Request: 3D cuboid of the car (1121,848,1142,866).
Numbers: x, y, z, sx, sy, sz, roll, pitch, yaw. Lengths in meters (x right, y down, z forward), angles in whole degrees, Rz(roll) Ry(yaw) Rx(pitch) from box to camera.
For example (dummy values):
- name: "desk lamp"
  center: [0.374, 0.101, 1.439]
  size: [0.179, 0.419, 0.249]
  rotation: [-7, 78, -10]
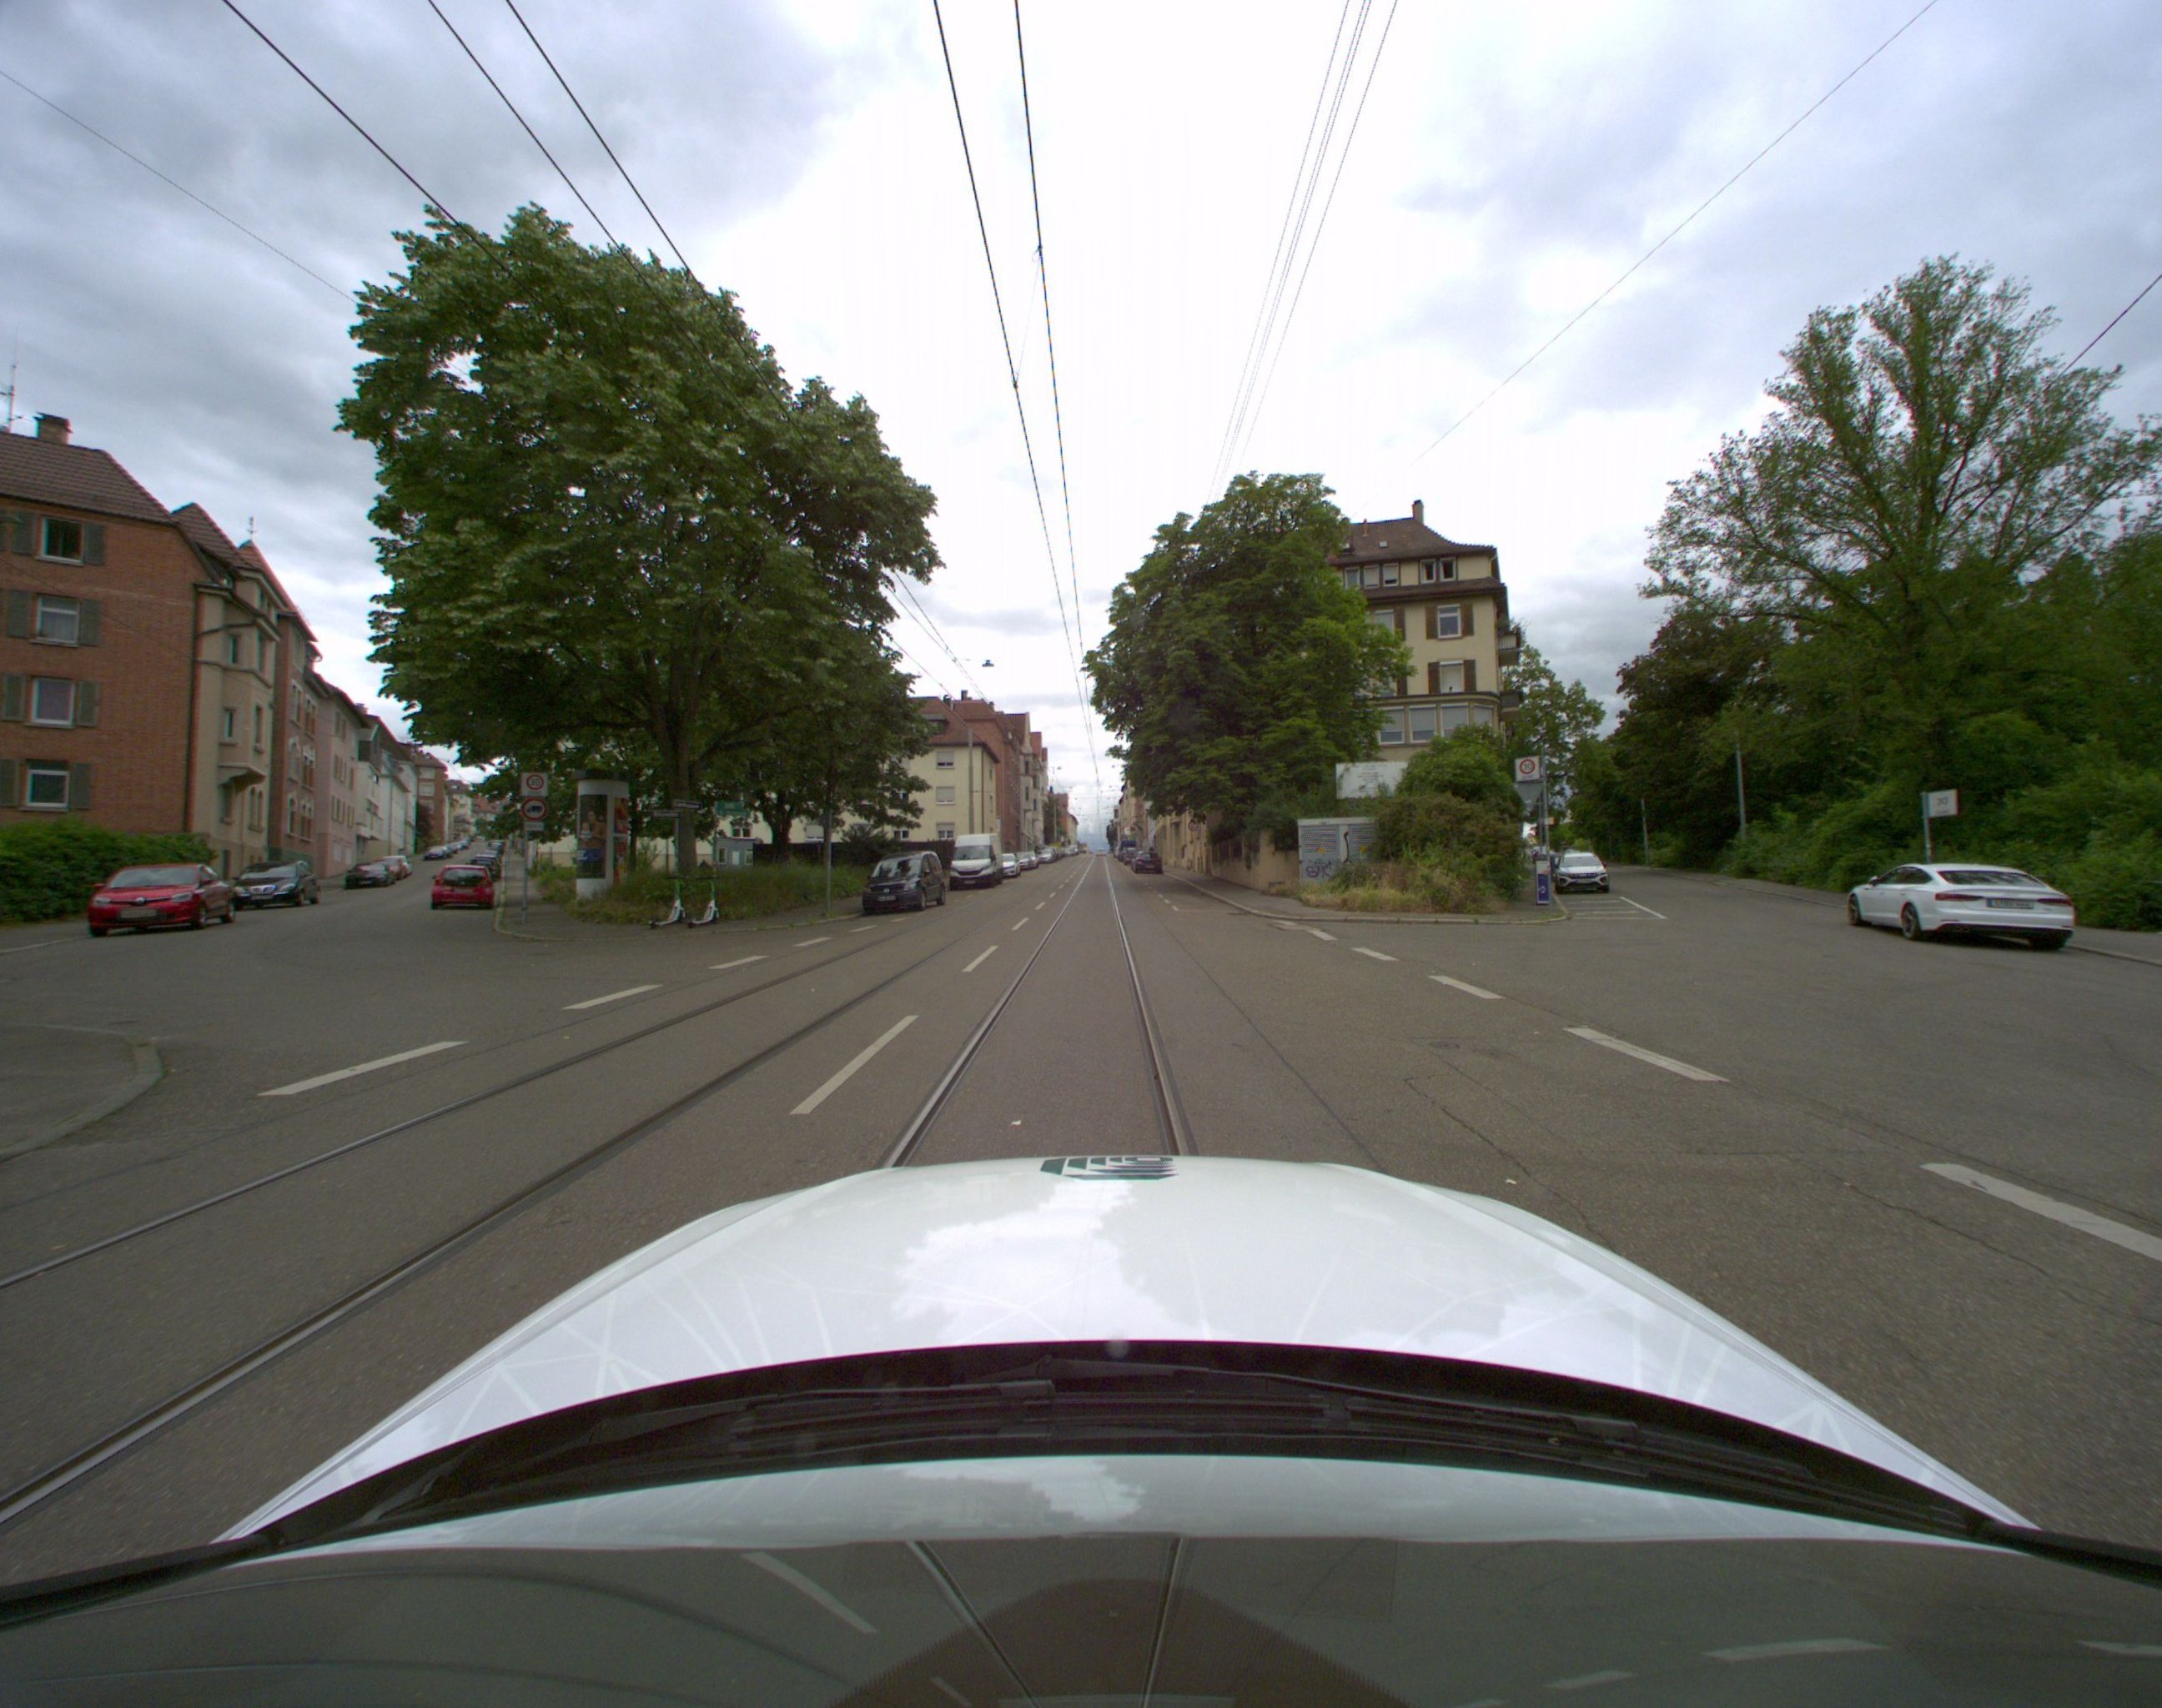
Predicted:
- name: "car"
  center: [4.638, 0.236, 75.187]
  size: [1.821, 1.519, 4.030]
  rotation: [1, 1, 2]

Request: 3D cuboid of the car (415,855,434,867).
- name: "car"
  center: [-70.681, 0.762, 87.704]
  size: [1.464, 1.235, 3.384]
  rotation: [0, 0, -35]

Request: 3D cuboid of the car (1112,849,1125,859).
- name: "car"
  center: [5.248, -0.035, 114.521]
  size: [1.744, 1.390, 4.307]
  rotation: [1, 0, 0]

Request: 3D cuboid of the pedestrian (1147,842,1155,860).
- name: "pedestrian"
  center: [6.982, -0.304, 81.349]
  size: [0.540, 1.682, 0.515]
  rotation: [-5, -2, -7]

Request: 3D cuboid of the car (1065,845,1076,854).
- name: "car"
  center: [-2.119, -0.829, 161.609]
  size: [1.737, 1.735, 4.523]
  rotation: [-3, 0, 3]

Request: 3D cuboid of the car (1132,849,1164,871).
- name: "car"
  center: [4.383, 0.379, 53.931]
  size: [1.833, 1.403, 4.168]
  rotation: [1, 0, 1]

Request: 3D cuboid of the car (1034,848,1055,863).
- name: "car"
  center: [-3.889, 0.092, 86.987]
  size: [1.820, 1.429, 4.842]
  rotation: [-3, 1, 2]

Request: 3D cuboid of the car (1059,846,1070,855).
- name: "car"
  center: [-3.065, -0.675, 150.238]
  size: [1.690, 1.556, 3.853]
  rotation: [-1, 0, 3]

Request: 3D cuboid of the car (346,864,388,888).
- name: "car"
  center: [-40.622, 1.212, 46.381]
  size: [1.464, 1.235, 3.384]
  rotation: [0, 0, -35]

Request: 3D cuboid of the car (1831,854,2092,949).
- name: "car"
  center: [16.092, 0.743, 15.257]
  size: [1.876, 1.380, 4.628]
  rotation: [2, 1, 28]

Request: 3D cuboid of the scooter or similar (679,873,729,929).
- name: "scooter or similar"
  center: [-8.868, 1.081, 19.199]
  size: [0.310, 1.145, 1.718]
  rotation: [0, 2, 1]

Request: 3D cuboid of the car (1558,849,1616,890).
- name: "car"
  center: [20.285, 0.595, 32.795]
  size: [1.823, 1.534, 4.533]
  rotation: [-2, -1, 31]

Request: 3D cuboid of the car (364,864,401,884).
- name: "car"
  center: [-45.114, 1.272, 52.648]
  size: [1.464, 1.235, 3.740]
  rotation: [0, 0, -35]

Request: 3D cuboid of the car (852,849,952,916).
- name: "car"
  center: [-5.450, 0.789, 25.487]
  size: [1.755, 1.775, 4.672]
  rotation: [-4, 0, 3]

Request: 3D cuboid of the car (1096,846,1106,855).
- name: "car"
  center: [3.653, -0.640, 146.270]
  size: [1.666, 1.513, 3.797]
  rotation: [-1, 0, 0]

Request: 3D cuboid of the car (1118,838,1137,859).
- name: "car"
  center: [5.276, -0.604, 92.942]
  size: [1.986, 2.376, 5.057]
  rotation: [0, 0, 1]

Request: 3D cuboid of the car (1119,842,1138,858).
- name: "car"
  center: [5.089, -0.422, 87.513]
  size: [1.774, 1.530, 4.193]
  rotation: [3, 0, 1]

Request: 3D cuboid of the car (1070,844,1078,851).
- name: "car"
  center: [-1.624, -1.436, 180.000]
  size: [1.691, 1.433, 4.481]
  rotation: [-3, 0, 0]

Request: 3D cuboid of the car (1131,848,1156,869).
- name: "car"
  center: [4.588, 0.332, 60.375]
  size: [1.689, 1.404, 3.669]
  rotation: [1, 1, 2]

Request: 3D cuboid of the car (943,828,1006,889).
- name: "car"
  center: [-5.104, 0.148, 39.993]
  size: [2.152, 2.606, 6.218]
  rotation: [-4, 1, 0]

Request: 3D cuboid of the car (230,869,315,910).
- name: "car"
  center: [-27.615, 1.161, 27.910]
  size: [1.464, 1.235, 3.740]
  rotation: [0, 0, -35]

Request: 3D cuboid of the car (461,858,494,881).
- name: "car"
  center: [-40.273, 0.986, 54.420]
  size: [1.683, 1.415, 3.691]
  rotation: [0, 0, -35]

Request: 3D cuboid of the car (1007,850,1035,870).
- name: "car"
  center: [-4.603, 0.436, 62.966]
  size: [1.594, 1.368, 3.810]
  rotation: [-4, 1, 2]

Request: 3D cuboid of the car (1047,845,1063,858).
- name: "car"
  center: [-3.388, -0.367, 107.075]
  size: [1.690, 1.593, 4.270]
  rotation: [-3, 1, 2]

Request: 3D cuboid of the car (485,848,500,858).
- name: "car"
  center: [-85.728, -0.196, 118.639]
  size: [1.683, 1.415, 3.691]
  rotation: [0, 0, -35]

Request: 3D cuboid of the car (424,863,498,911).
- name: "car"
  center: [-21.109, 1.069, 27.843]
  size: [1.658, 1.415, 3.694]
  rotation: [0, 0, -32]

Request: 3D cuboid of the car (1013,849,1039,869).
- name: "car"
  center: [-4.533, 0.412, 67.405]
  size: [1.822, 1.429, 4.626]
  rotation: [-4, 1, -1]

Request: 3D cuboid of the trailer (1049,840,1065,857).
- name: "trailer"
  center: [-3.264, -0.729, 111.257]
  size: [1.742, 2.155, 4.073]
  rotation: [-3, 1, 2]

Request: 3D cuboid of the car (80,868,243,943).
- name: "car"
  center: [-21.335, 1.118, 19.074]
  size: [1.757, 1.478, 3.574]
  rotation: [0, 0, -35]

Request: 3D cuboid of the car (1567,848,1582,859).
- name: "car"
  center: [76.212, -0.038, 125.815]
  size: [1.727, 1.541, 3.811]
  rotation: [-3, -1, 29]

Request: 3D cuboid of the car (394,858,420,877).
- name: "car"
  center: [-57.291, 1.171, 69.280]
  size: [1.464, 1.479, 3.739]
  rotation: [0, -2, -36]

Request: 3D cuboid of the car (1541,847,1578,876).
- name: "car"
  center: [27.313, 0.405, 46.559]
  size: [1.727, 1.541, 3.811]
  rotation: [-3, -1, 29]

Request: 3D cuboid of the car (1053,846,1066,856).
- name: "car"
  center: [-3.194, -0.428, 122.692]
  size: [1.690, 1.468, 3.025]
  rotation: [-3, 0, 2]

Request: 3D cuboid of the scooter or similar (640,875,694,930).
- name: "scooter or similar"
  center: [-9.620, 1.102, 18.984]
  size: [0.310, 1.145, 1.718]
  rotation: [0, 2, 1]

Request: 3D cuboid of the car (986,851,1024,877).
- name: "car"
  center: [-4.559, 0.572, 49.583]
  size: [1.712, 1.402, 4.315]
  rotation: [-4, 1, 1]
